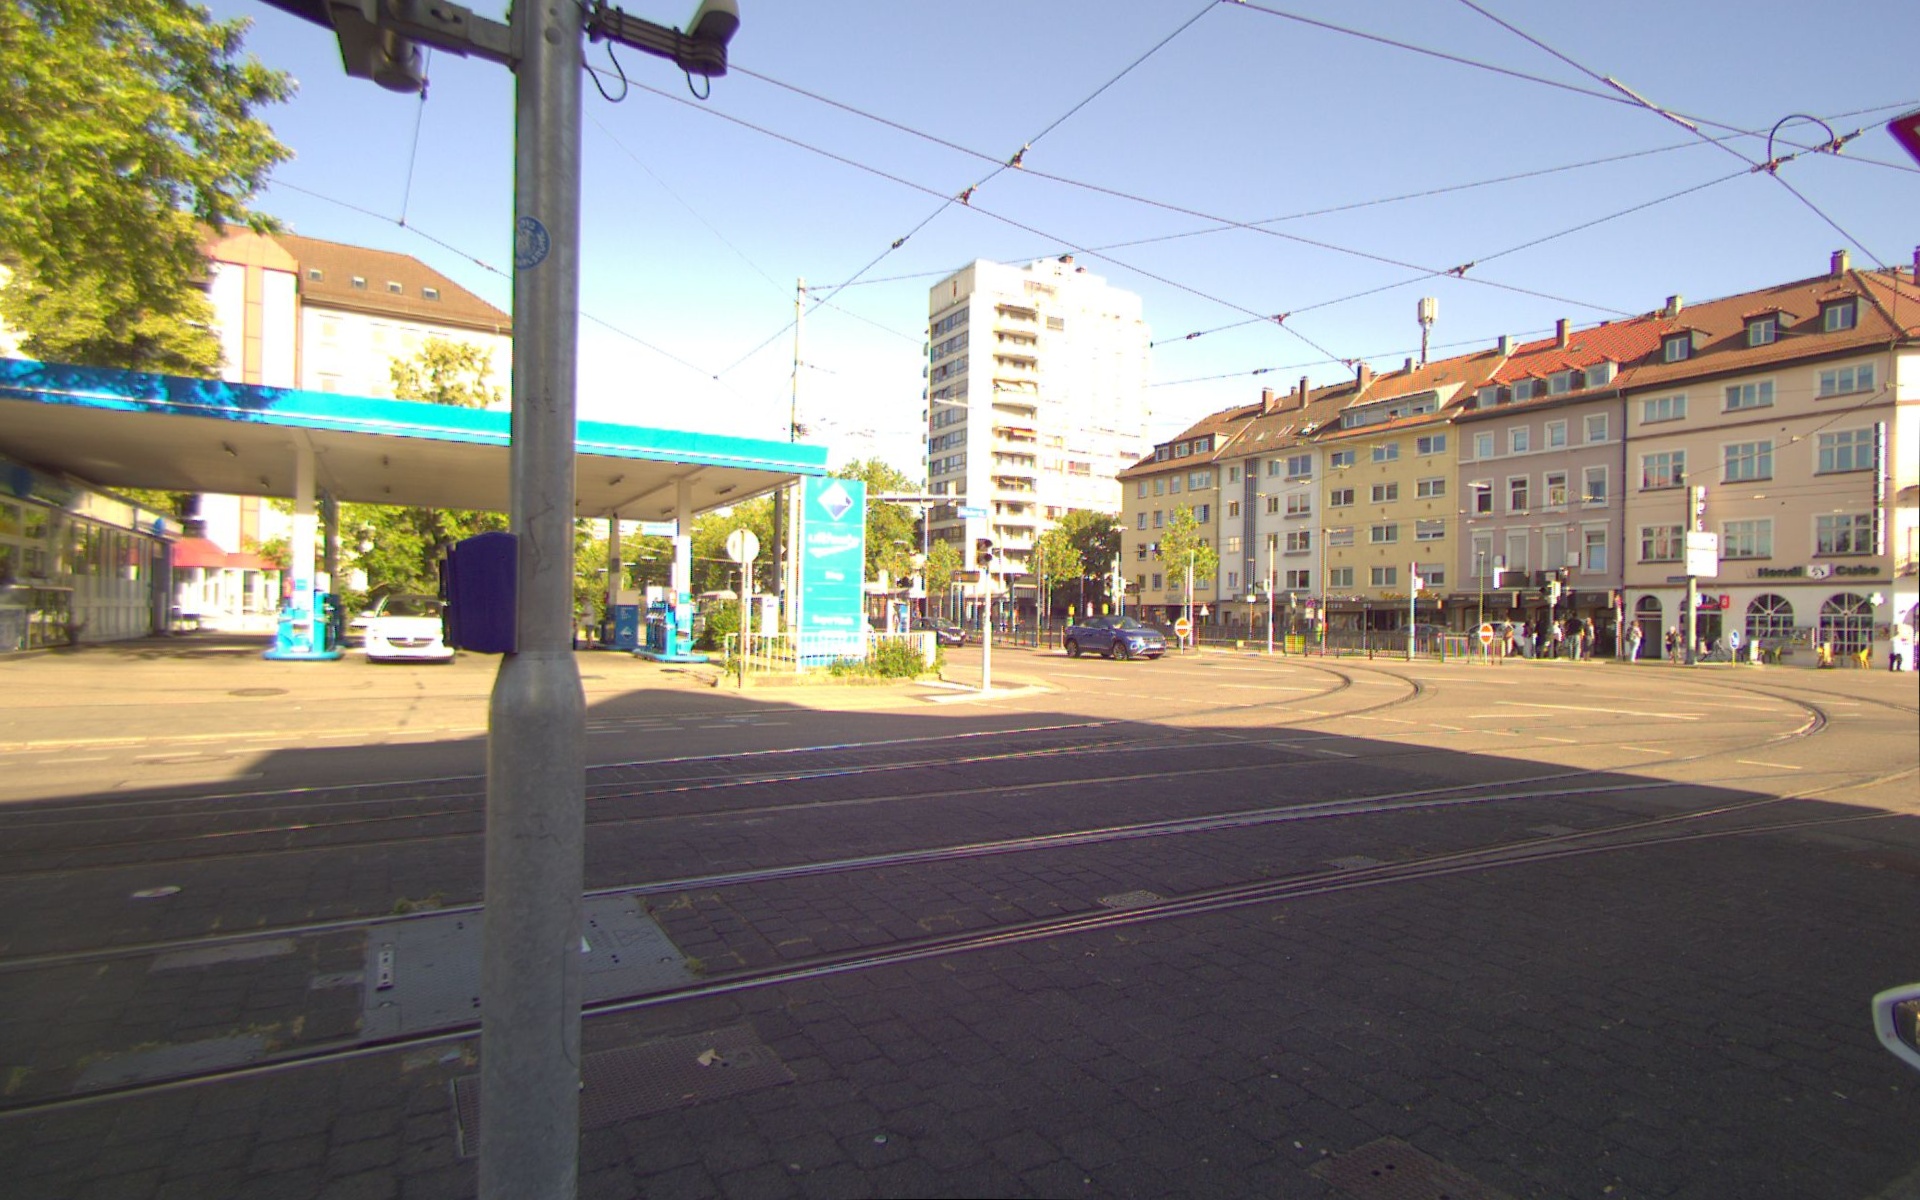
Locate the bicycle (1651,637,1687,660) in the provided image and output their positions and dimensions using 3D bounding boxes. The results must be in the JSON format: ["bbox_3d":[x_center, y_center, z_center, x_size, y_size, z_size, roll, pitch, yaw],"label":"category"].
[{"bbox_3d":[33.944,2.322,48.107,1.731,1.044,0.619,2,0,-25],"label":"bicycle"}]

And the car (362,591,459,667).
[{"bbox_3d":[-12.211,0.593,22.354,1.723,1.455,3.905,2,1,-29],"label":"car"}]

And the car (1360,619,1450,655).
[{"bbox_3d":[24.213,1.999,54.806,1.797,1.797,4.208,2,0,-30],"label":"car"}]

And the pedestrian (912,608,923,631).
[{"bbox_3d":[-3.906,1.796,92.660,0.729,2.127,0.880,2,0,-21],"label":"pedestrian"}]

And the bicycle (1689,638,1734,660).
[{"bbox_3d":[37.839,2.471,50.595,0.603,0.996,1.693,2,0,-29],"label":"bicycle"}]

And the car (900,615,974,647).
[{"bbox_3d":[-1.169,1.489,48.520,1.811,1.422,3.965,1,-1,-32],"label":"car"}]

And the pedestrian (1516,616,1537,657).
[{"bbox_3d":[23.508,1.512,41.691,0.492,1.670,0.520,2,0,-30],"label":"pedestrian"}]

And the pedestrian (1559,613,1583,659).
[{"bbox_3d":[24.671,1.450,40.543,0.669,1.847,0.524,2,0,-30],"label":"pedestrian"}]

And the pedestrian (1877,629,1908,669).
[{"bbox_3d":[39.926,2.105,42.996,0.778,1.664,0.569,2,0,-6],"label":"pedestrian"}]

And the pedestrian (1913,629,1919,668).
[{"bbox_3d":[42.286,2.115,44.132,0.581,1.698,0.495,2,0,43],"label":"pedestrian"}]

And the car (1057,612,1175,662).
[{"bbox_3d":[5.419,1.269,35.374,1.811,1.596,4.162,1,0,-32],"label":"car"}]

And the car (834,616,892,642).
[{"bbox_3d":[-5.649,1.648,58.107,1.876,1.473,3.976,1,-1,-31],"label":"car"}]

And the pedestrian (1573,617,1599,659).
[{"bbox_3d":[25.600,1.541,41.083,0.831,1.670,0.579,2,0,-30],"label":"pedestrian"}]

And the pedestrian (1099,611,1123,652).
[{"bbox_3d":[6.155,1.271,40.867,0.753,1.631,0.611,2,0,-16],"label":"pedestrian"}]

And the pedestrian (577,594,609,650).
[{"bbox_3d":[-11.661,0.708,31.906,0.838,1.724,0.644,2,-3,-31],"label":"pedestrian"}]

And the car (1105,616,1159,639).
[{"bbox_3d":[12.094,1.919,70.756,1.680,1.421,3.769,2,0,-31],"label":"car"}]

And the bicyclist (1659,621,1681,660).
[{"bbox_3d":[34.048,1.927,48.150,0.606,1.814,0.619,2,0,-25],"label":"bicyclist"}]

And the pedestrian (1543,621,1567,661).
[{"bbox_3d":[25.131,1.735,42.422,0.719,1.670,0.570,2,0,-30],"label":"pedestrian"}]

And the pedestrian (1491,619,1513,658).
[{"bbox_3d":[23.821,1.696,44.145,0.609,1.670,0.581,2,0,-30],"label":"pedestrian"}]

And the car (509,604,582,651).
[{"bbox_3d":[-13.514,0.861,32.644,1.659,1.372,3.559,2,0,-31],"label":"car"}]

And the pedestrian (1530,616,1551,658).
[{"bbox_3d":[23.782,1.517,41.137,0.492,1.670,0.520,2,0,-30],"label":"pedestrian"}]

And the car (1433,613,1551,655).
[{"bbox_3d":[25.237,1.584,47.770,1.818,1.757,4.643,2,0,-35],"label":"car"}]

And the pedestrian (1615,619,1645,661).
[{"bbox_3d":[26.384,1.563,39.561,0.805,1.615,0.665,2,0,-30],"label":"pedestrian"}]
